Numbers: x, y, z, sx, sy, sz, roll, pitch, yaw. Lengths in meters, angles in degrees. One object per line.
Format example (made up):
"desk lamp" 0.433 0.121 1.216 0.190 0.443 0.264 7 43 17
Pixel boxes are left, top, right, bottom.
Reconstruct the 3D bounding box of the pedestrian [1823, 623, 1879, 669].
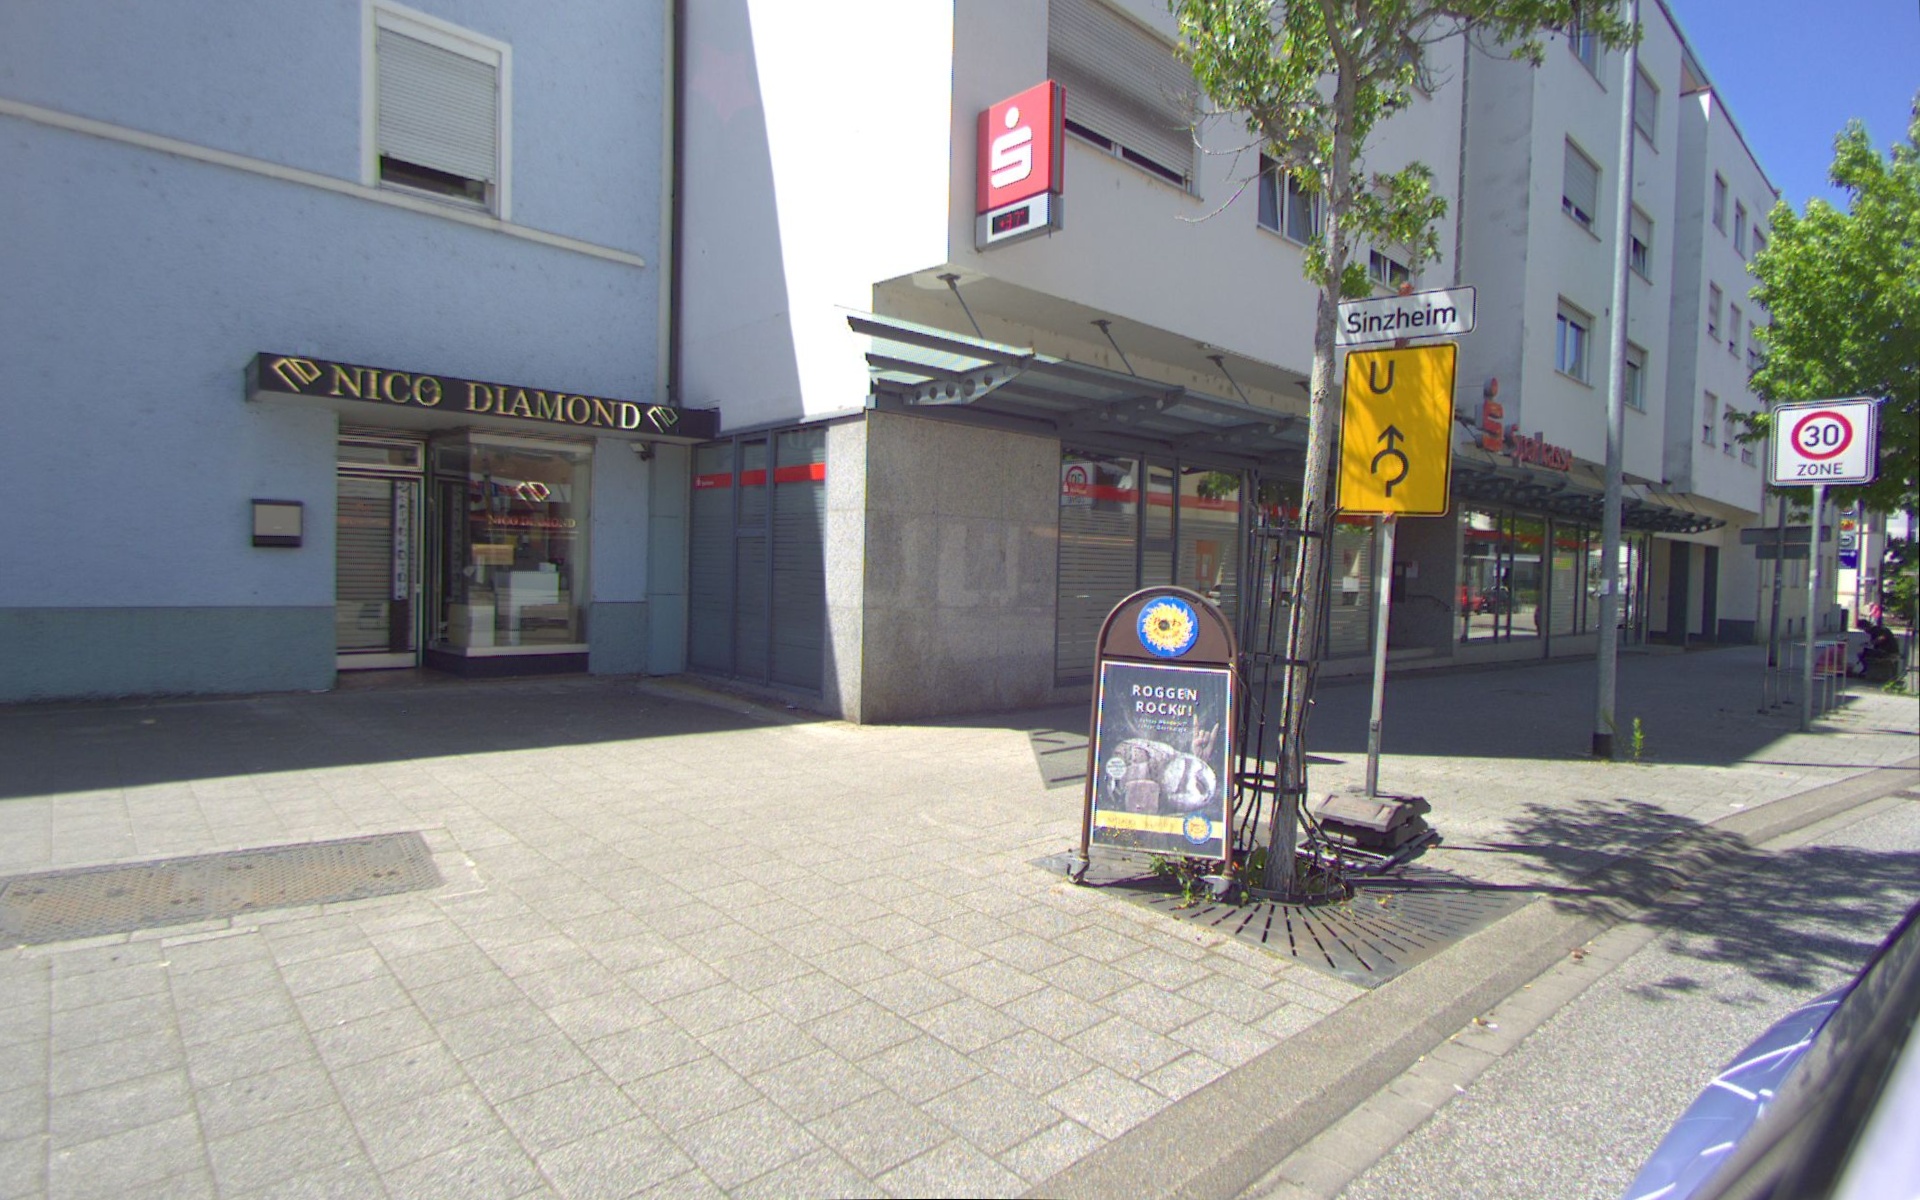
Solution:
"pedestrian" 18.054 0.922 20.513 0.527 0.862 0.681 1 3 -28

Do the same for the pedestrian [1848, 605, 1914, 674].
"pedestrian" 17.850 0.751 19.622 0.527 1.255 0.764 1 2 -28
